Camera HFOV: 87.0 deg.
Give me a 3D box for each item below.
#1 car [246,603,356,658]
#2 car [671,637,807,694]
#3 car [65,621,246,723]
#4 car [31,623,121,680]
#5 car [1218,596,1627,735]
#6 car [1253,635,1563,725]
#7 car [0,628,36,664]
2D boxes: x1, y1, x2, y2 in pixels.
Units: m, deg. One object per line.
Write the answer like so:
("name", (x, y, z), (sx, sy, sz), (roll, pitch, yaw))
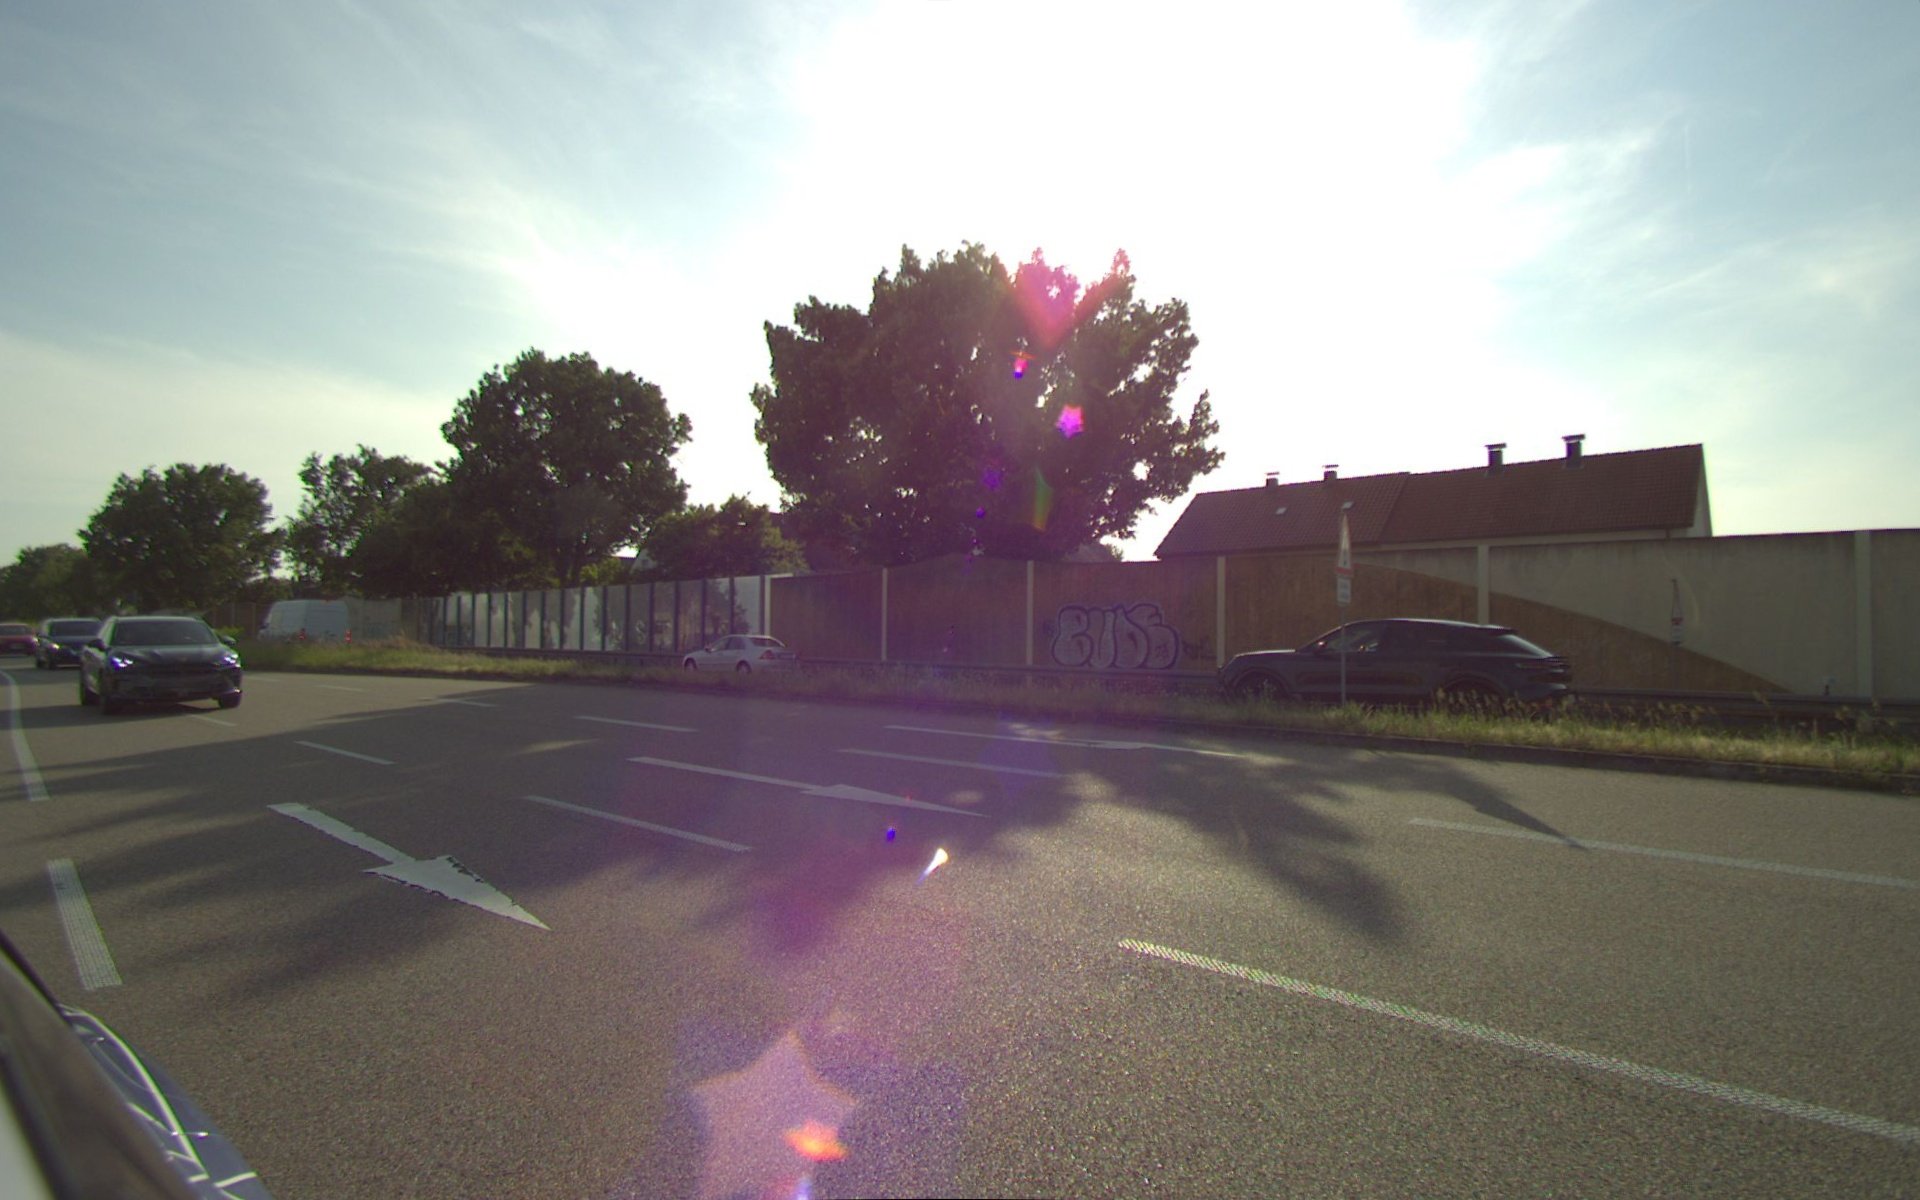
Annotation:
("car", (-29.999, 1.363, 45.944), (7.187, 2.321, 2.324), (-2, -1, 41))
("car", (-6.829, 1.942, 30.946), (4.711, 1.579, 1.633), (-2, -1, 42))
("car", (-14.058, 1.166, 17.604), (4.245, 1.537, 1.798), (-2, -1, 42))
("car", (-29.233, 1.674, 33.443), (3.999, 1.747, 1.798), (-2, -1, 42))
("car", (6.283, 0.833, 14.186), (4.920, 1.637, 1.713), (-2, -1, 41))
("car", (7.656, 1.293, 17.593), (4.603, 1.333, 1.761), (-2, -1, 42))
("car", (-45.805, 2.194, 48.534), (3.999, 1.684, 1.798), (-2, -1, 42))
